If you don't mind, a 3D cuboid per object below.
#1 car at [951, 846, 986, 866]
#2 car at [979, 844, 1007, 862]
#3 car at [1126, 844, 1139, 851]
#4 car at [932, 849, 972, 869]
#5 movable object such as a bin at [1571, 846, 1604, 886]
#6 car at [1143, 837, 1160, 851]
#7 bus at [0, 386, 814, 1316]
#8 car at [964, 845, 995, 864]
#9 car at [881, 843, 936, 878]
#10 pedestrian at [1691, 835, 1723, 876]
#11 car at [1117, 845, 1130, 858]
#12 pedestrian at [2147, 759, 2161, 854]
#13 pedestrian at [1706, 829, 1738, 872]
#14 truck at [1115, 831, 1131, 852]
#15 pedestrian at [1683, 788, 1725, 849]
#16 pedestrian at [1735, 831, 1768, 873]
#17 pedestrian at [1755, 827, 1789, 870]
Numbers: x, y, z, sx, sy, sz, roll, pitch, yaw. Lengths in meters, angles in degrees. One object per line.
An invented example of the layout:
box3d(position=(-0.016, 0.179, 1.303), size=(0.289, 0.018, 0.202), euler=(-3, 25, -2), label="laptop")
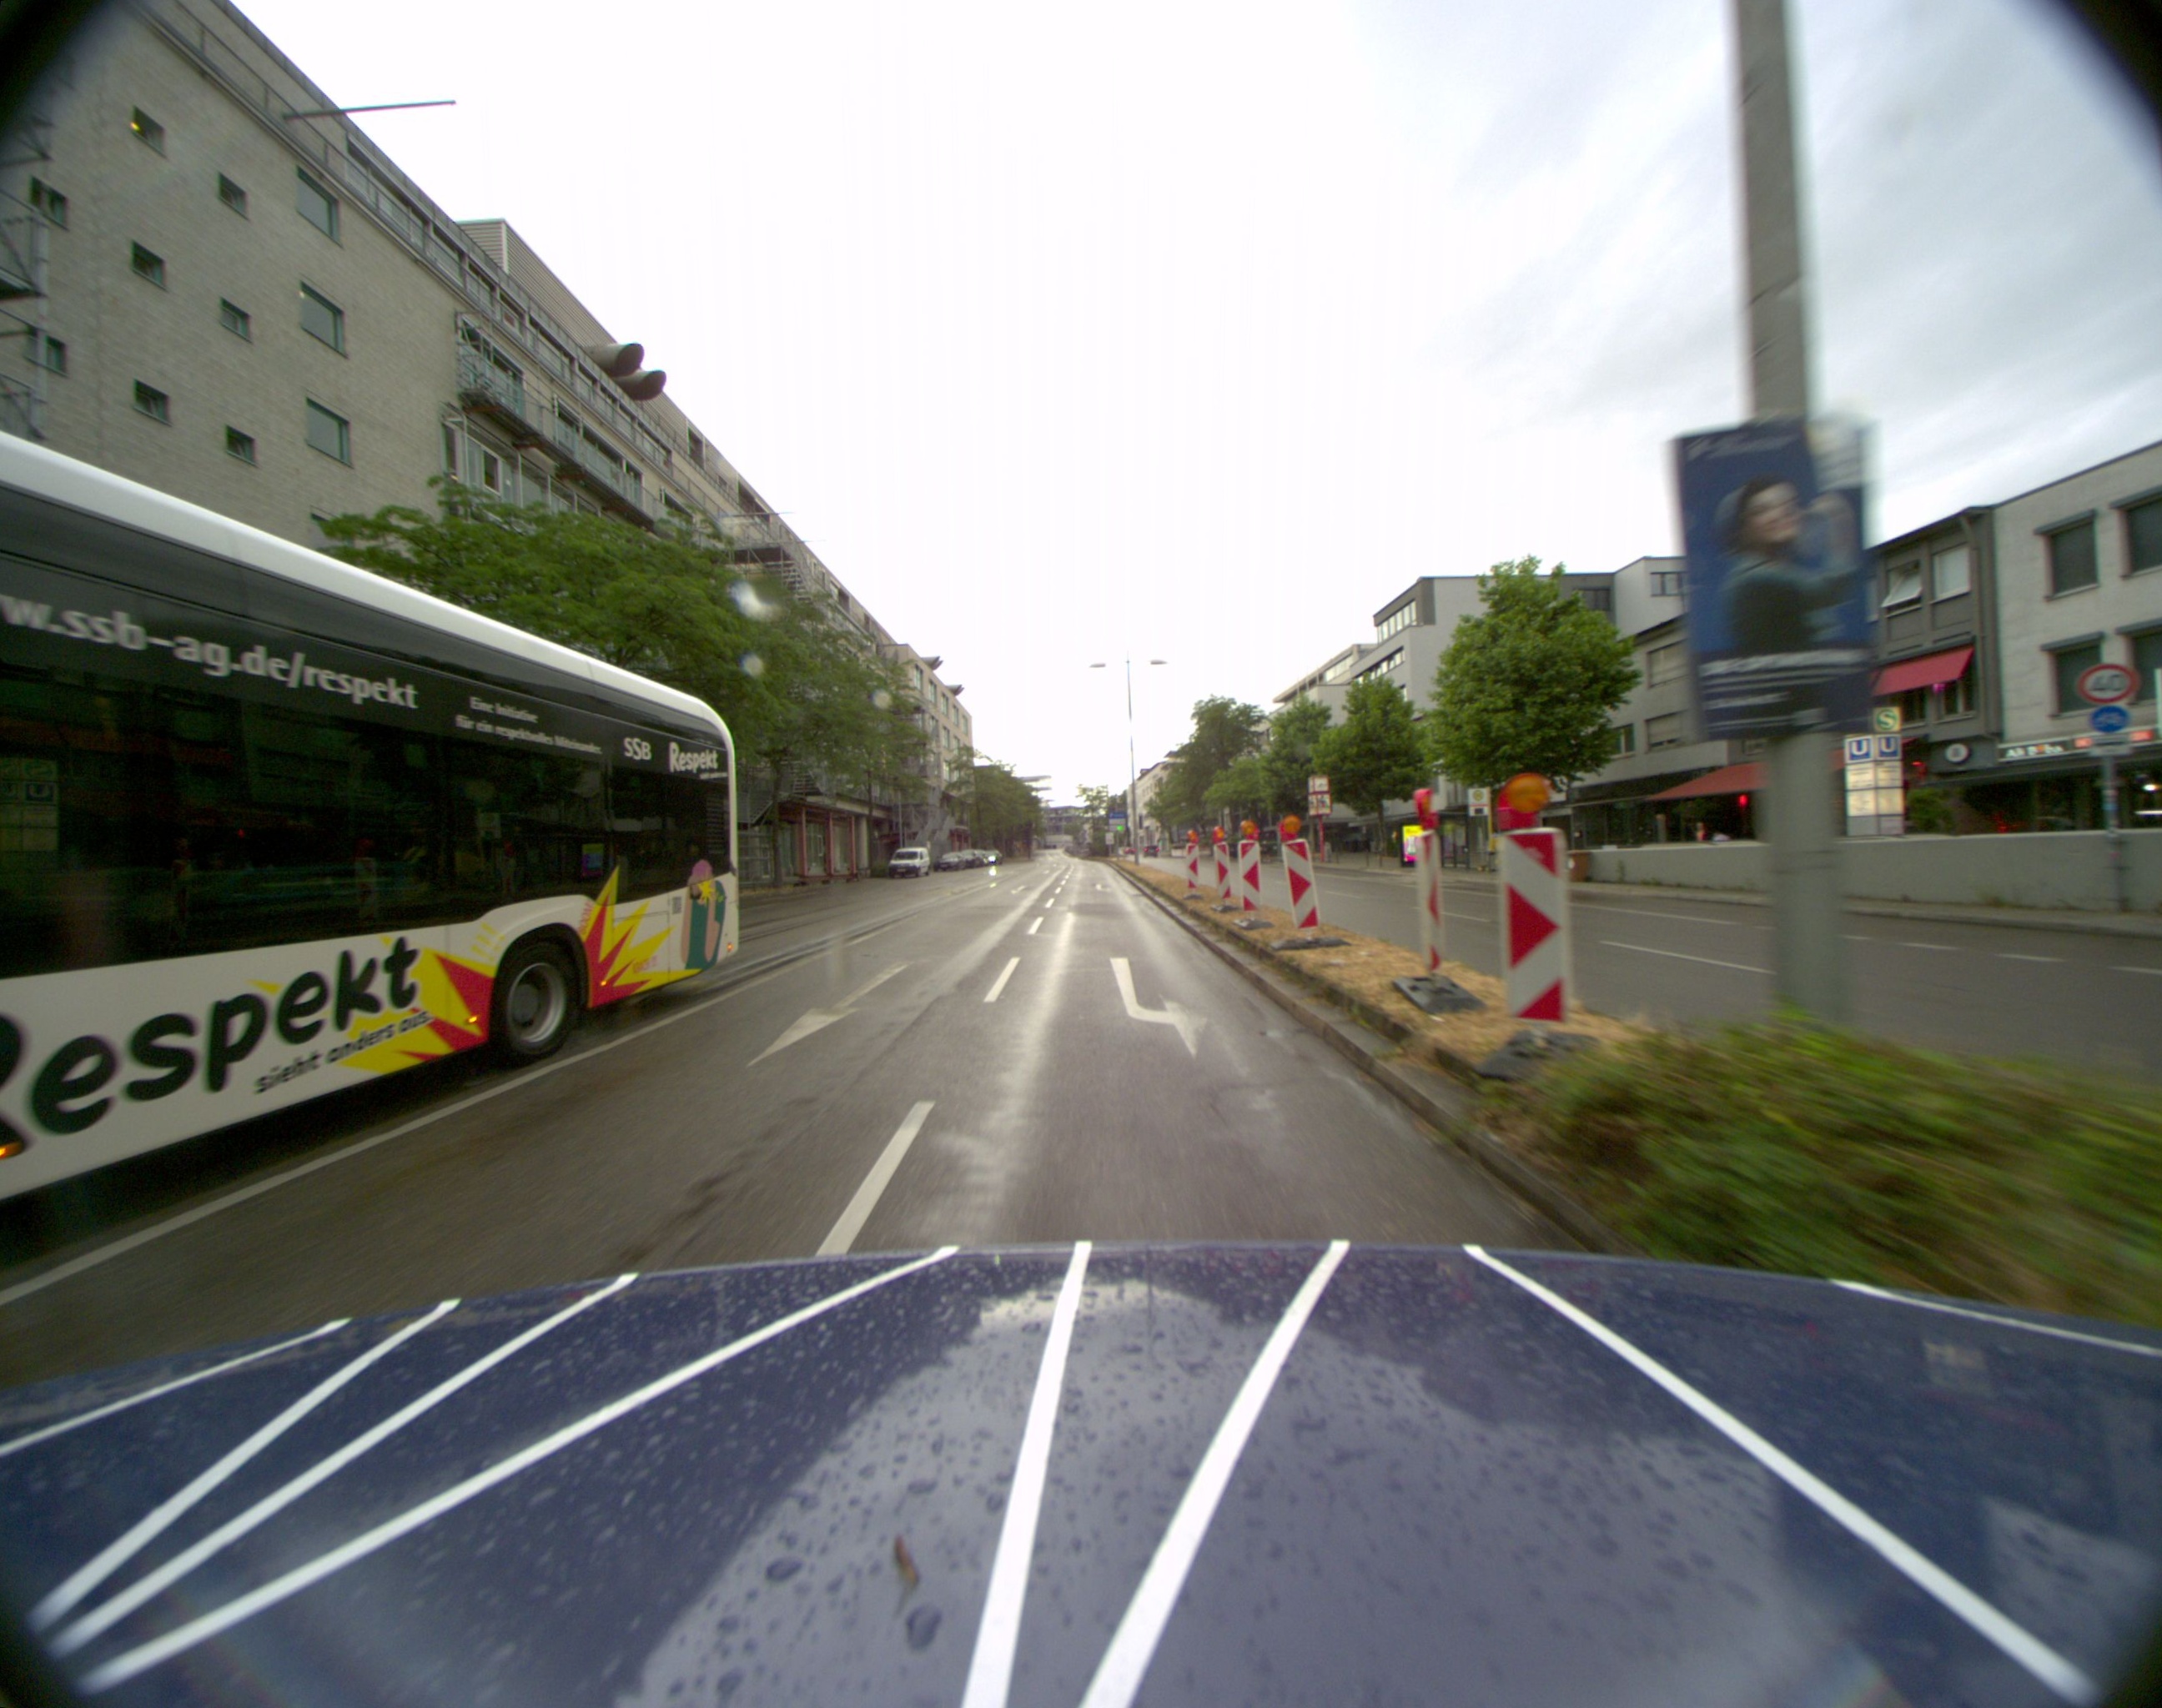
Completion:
box3d(position=(-9.557, 0.135, 64.990), size=(2.147, 1.486, 4.815), euler=(-2, 1, 1), label="car")
box3d(position=(-8.824, -0.158, 76.190), size=(2.147, 1.637, 4.815), euler=(-2, 1, 1), label="car")
box3d(position=(10.454, -1.319, 153.426), size=(1.693, 1.501, 4.287), euler=(-1, 1, -9), label="car")
box3d(position=(-9.825, 0.366, 58.197), size=(2.147, 1.329, 4.815), euler=(-2, 1, 1), label="car")
box3d(position=(14.614, 0.337, 21.935), size=(0.507, 1.094, 0.660), euler=(-2, 2, -2), label="movable object such as a bin")
box3d(position=(10.402, -1.485, 112.192), size=(1.999, 1.917, 4.962), euler=(1, 2, -1), label="car")
box3d(position=(-5.371, -0.059, 5.893), size=(2.890, 3.420, 9.708), euler=(-2, 1, 1), label="bus")
box3d(position=(-9.394, 0.029, 70.458), size=(2.147, 1.552, 4.815), euler=(-2, 1, 1), label="car")
box3d(position=(-10.465, 0.353, 46.431), size=(2.213, 1.895, 4.329), euler=(-2, 1, 1), label="car")
box3d(position=(23.402, 0.055, 28.417), size=(0.669, 1.520, 0.611), euler=(-1, 1, 3), label="pedestrian")
box3d(position=(7.053, -0.422, 126.228), size=(1.998, 2.002, 3.999), euler=(-2, 1, 1), label="car")
box3d(position=(22.984, -0.999, 15.827), size=(0.597, 2.002, 0.729), euler=(-1, 1, 21), label="pedestrian")
box3d(position=(23.192, -0.142, 27.499), size=(0.669, 1.520, 0.611), euler=(-1, 1, 3), label="pedestrian")
box3d(position=(7.205, -2.128, 130.848), size=(1.999, 3.557, 7.571), euler=(-2, 1, -2), label="truck")
box3d(position=(18.999, -1.081, 23.177), size=(0.611, 1.813, 0.791), euler=(-2, 2, -14), label="pedestrian")
box3d(position=(25.054, -0.068, 28.402), size=(0.669, 1.520, 0.611), euler=(-1, 1, 4), label="pedestrian")
box3d(position=(25.048, -0.202, 27.548), size=(0.669, 1.520, 0.611), euler=(-1, 1, 3), label="pedestrian")
